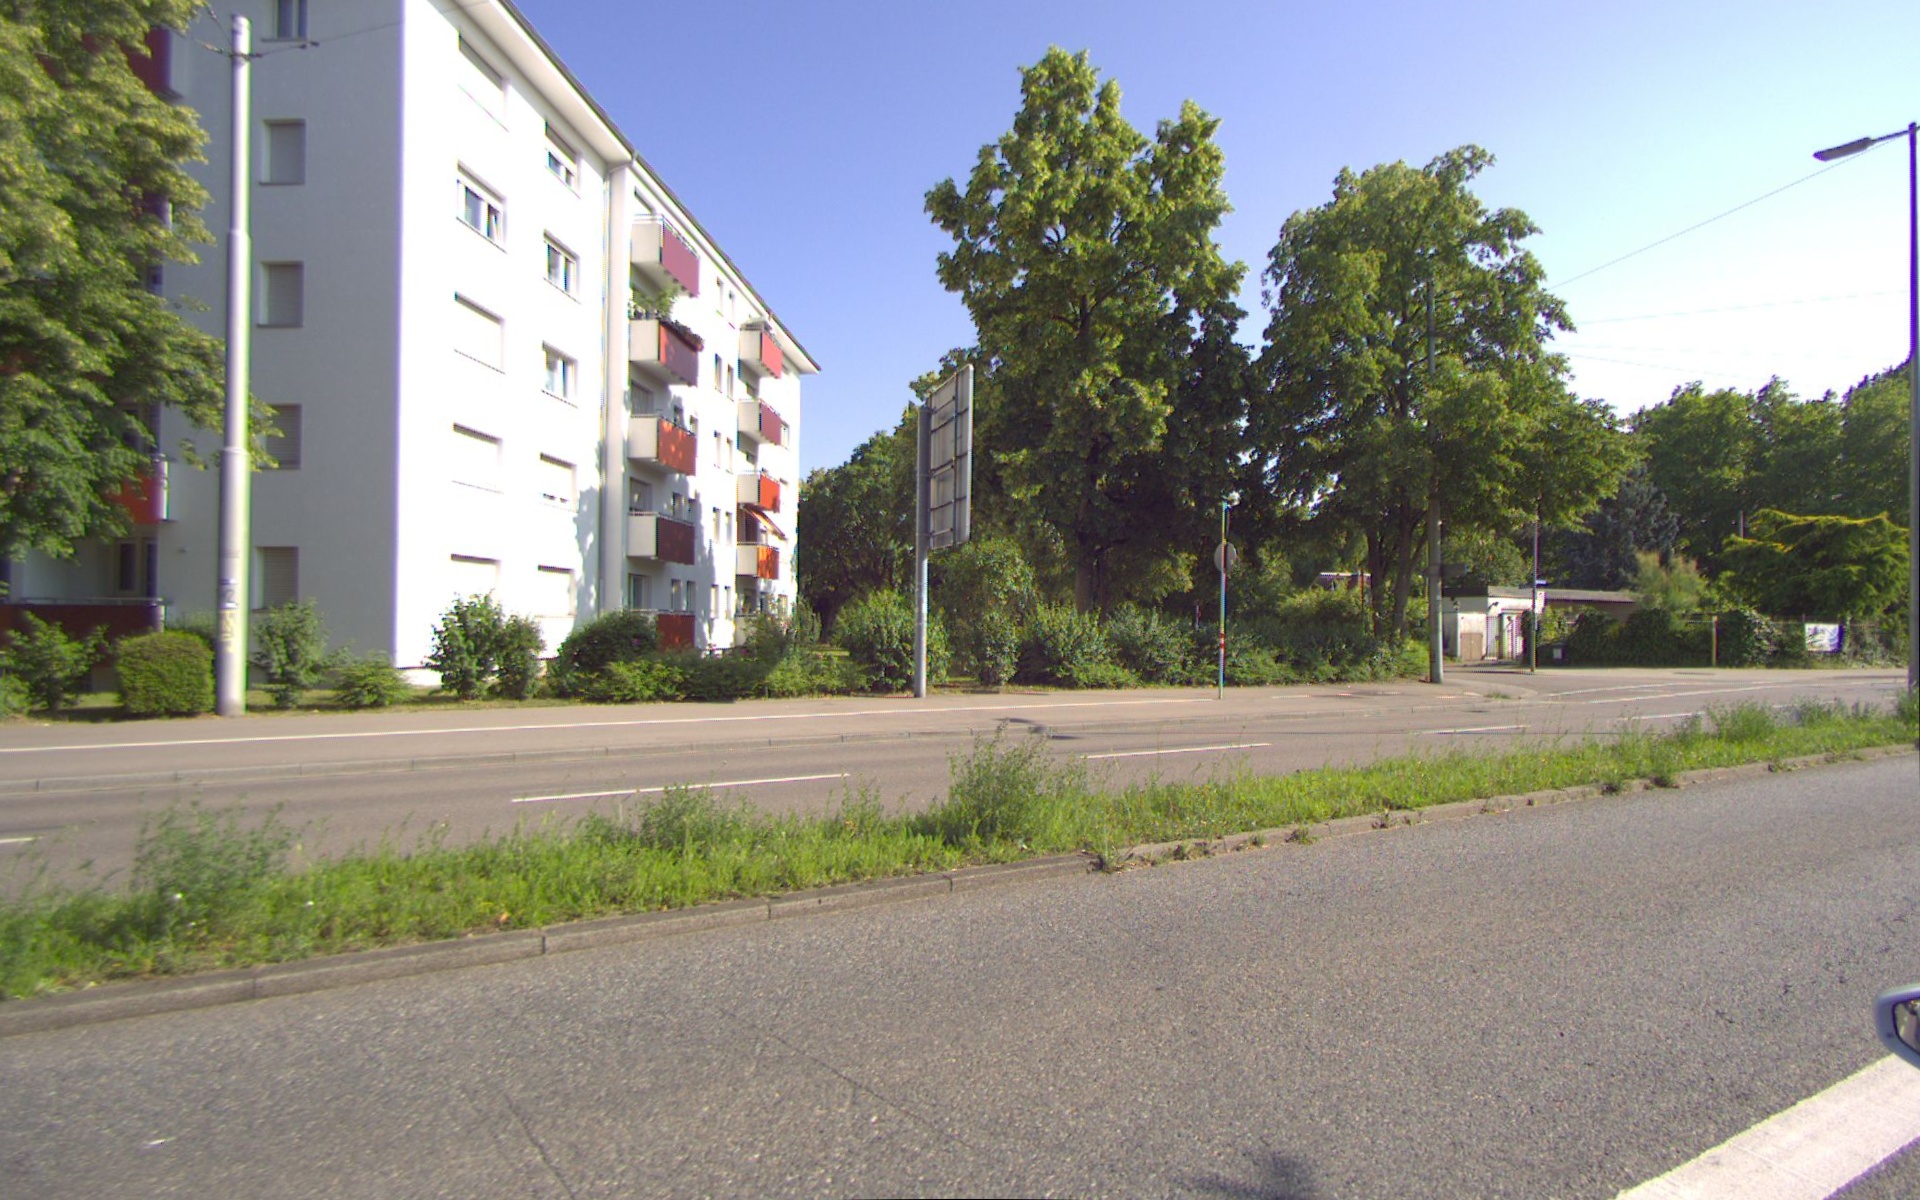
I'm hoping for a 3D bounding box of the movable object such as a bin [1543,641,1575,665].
[{"bbox_3d":[24.409,2.149,40.949,0.843,0.943,0.813,1,-1,-29],"label":"movable object such as a bin"}]
